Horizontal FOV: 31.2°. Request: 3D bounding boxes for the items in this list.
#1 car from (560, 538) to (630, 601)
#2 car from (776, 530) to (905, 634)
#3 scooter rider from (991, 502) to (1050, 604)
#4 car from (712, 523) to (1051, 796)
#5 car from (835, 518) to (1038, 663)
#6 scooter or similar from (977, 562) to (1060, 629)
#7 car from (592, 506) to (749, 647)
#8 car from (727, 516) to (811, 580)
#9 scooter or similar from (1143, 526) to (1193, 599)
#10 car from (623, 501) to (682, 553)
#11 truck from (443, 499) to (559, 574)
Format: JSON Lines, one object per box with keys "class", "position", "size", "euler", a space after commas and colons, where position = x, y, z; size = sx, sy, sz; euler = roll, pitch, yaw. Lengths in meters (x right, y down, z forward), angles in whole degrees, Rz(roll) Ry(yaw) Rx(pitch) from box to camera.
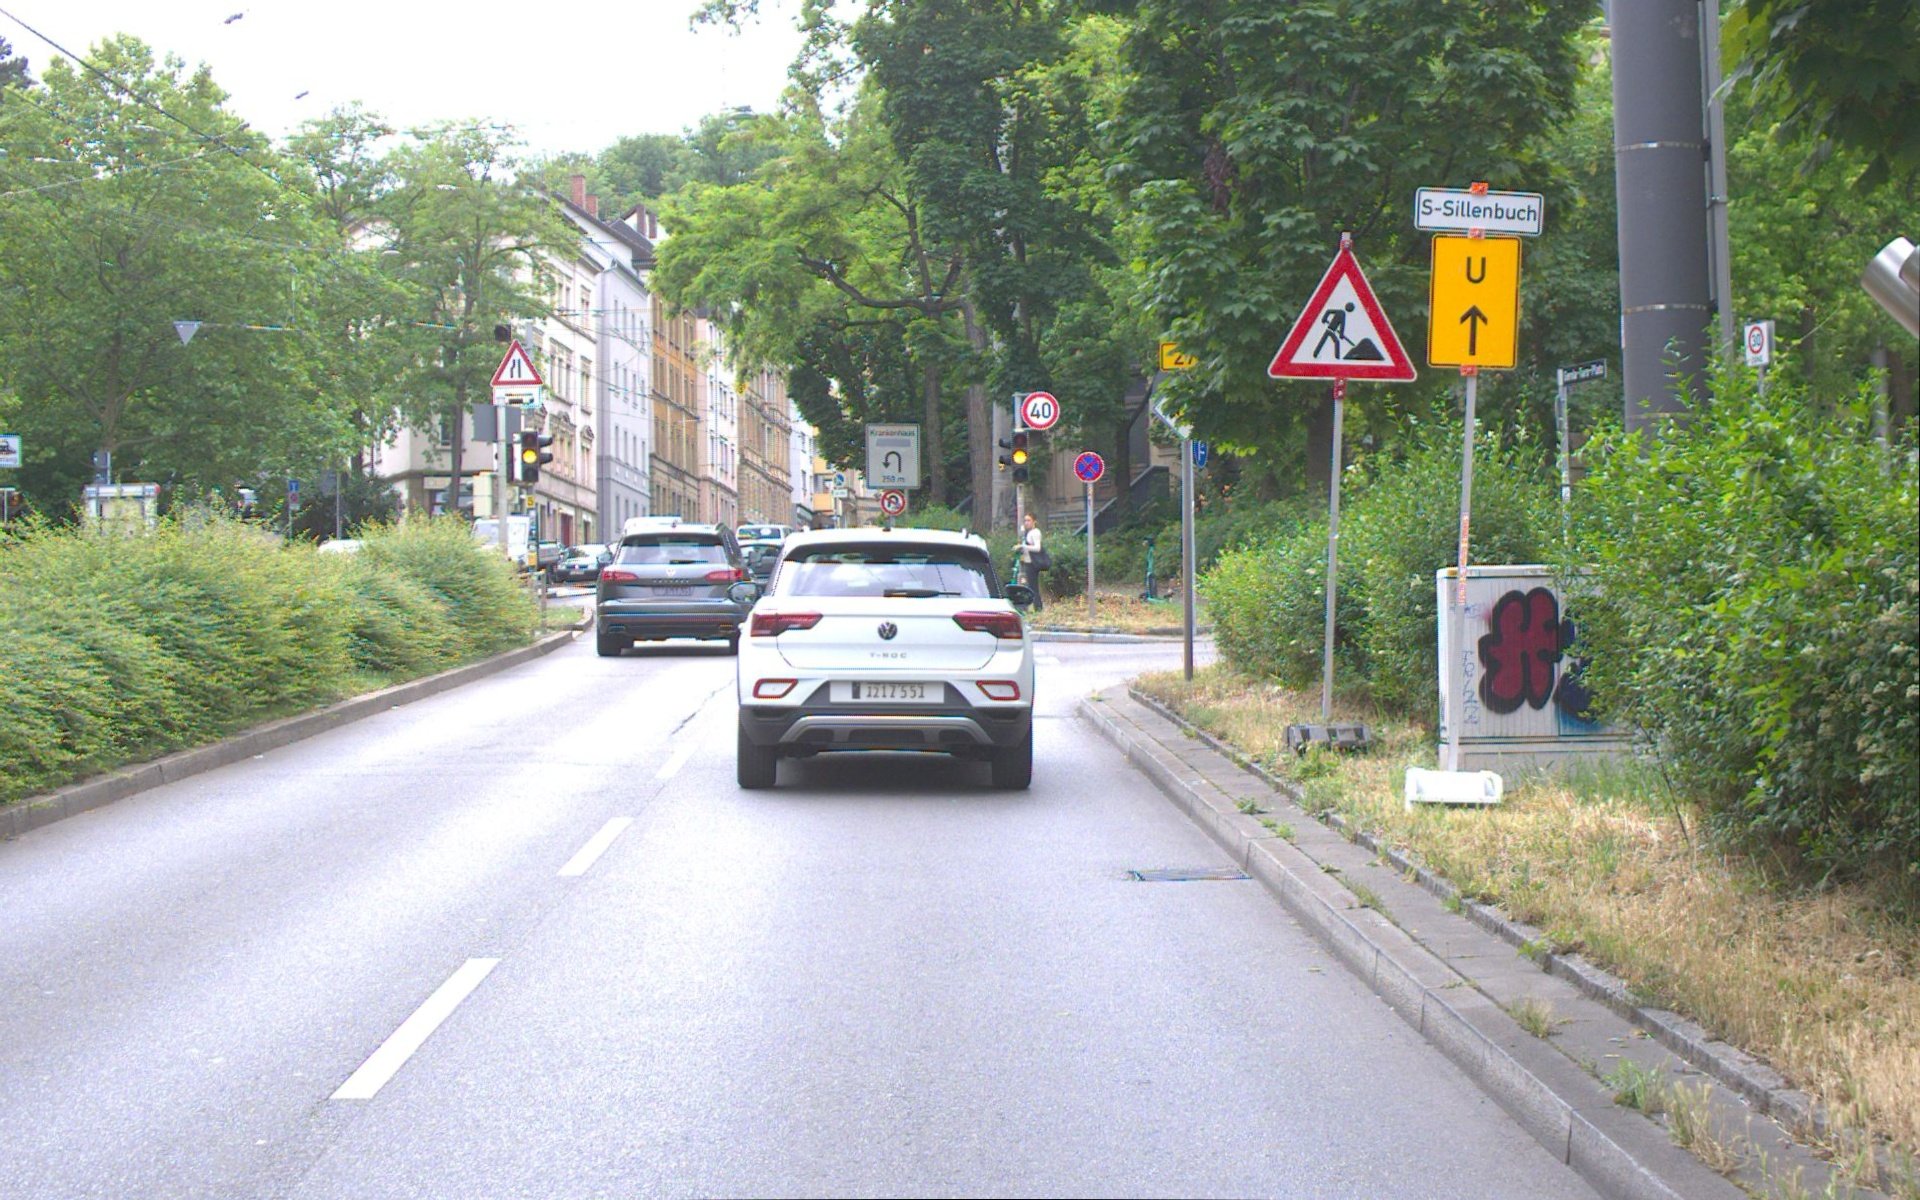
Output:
{"class": "car", "position": [-12.851, -1.057, 121.319], "size": [1.993, 2.007, 4.000], "euler": [2, -2, 0]}
{"class": "car", "position": [-2.125, -0.286, 60.135], "size": [1.993, 1.618, 4.000], "euler": [-1, -2, -5]}
{"class": "scooter rider", "position": [0.942, -0.730, 53.509], "size": [0.777, 1.552, 0.532], "euler": [-2, 1, -13]}
{"class": "car", "position": [-0.478, 0.314, 21.721], "size": [1.938, 1.561, 4.046], "euler": [0, 1, -1]}
{"class": "car", "position": [-0.335, -0.074, 41.102], "size": [1.902, 1.569, 3.835], "euler": [2, -2, -8]}
{"class": "scooter or similar", "position": [0.913, -0.073, 53.505], "size": [1.187, 0.991, 0.531], "euler": [-2, 1, -12]}
{"class": "car", "position": [-3.703, -0.304, 44.490], "size": [1.839, 1.734, 4.000], "euler": [0, 0, -2]}
{"class": "car", "position": [-6.772, -1.865, 122.543], "size": [2.422, 2.162, 6.033], "euler": [2, 1, 2]}
{"class": "scooter or similar", "position": [3.388, -0.610, 56.118], "size": [0.474, 1.096, 1.369], "euler": [-2, -2, -10]}
{"class": "car", "position": [-12.365, -2.916, 138.330], "size": [1.993, 2.007, 4.000], "euler": [-1, 1, -1]}
{"class": "truck", "position": [-14.592, -2.067, 109.680], "size": [2.422, 2.162, 6.033], "euler": [2, 3, 4]}
